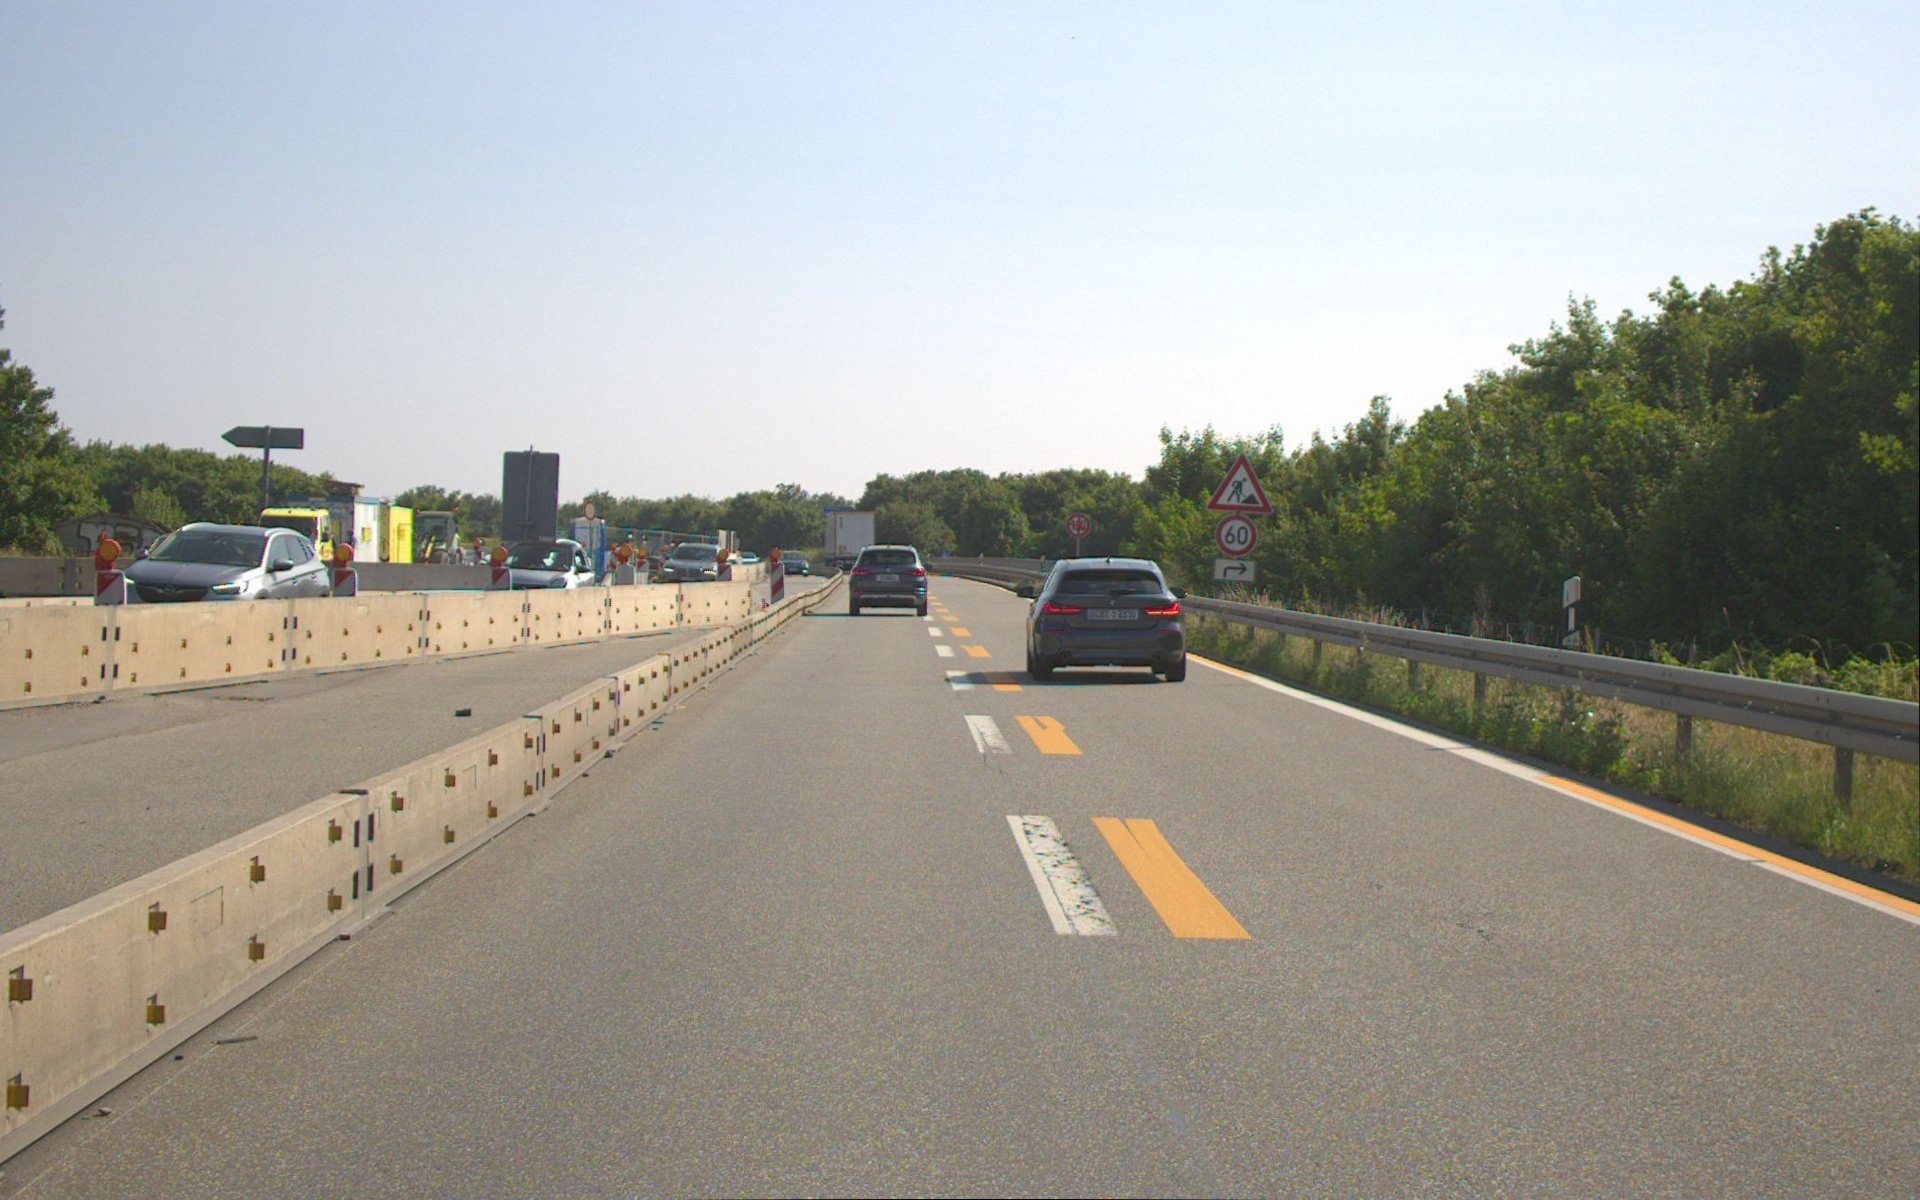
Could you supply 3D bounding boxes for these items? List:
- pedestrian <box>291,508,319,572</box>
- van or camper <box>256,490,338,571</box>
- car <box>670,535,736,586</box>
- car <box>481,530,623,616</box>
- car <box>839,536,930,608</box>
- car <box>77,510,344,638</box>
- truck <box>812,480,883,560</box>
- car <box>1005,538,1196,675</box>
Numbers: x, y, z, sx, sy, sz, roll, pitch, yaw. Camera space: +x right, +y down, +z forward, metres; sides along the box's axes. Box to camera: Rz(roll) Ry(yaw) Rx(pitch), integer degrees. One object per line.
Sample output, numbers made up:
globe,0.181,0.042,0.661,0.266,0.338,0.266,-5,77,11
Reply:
pedestrian,-18.842,-1.724,98.858,0.740,1.814,0.797,1,1,-12
van or camper,-20.293,-2.145,105.421,1.993,2.369,6.203,1,1,-7
car,-8.430,-1.325,113.152,1.993,1.616,4.849,1,1,-3
car,-7.574,-0.522,64.177,1.711,1.510,4.177,2,1,6
car,-1.709,-0.656,78.831,1.993,1.561,4.000,1,1,0
car,-9.622,-0.352,44.520,1.994,1.510,4.579,2,1,6
truck,-7.324,-5.148,222.297,3.760,4.894,14.139,2,1,-5
car,1.625,0.039,41.094,1.920,1.488,4.001,2,1,-2
